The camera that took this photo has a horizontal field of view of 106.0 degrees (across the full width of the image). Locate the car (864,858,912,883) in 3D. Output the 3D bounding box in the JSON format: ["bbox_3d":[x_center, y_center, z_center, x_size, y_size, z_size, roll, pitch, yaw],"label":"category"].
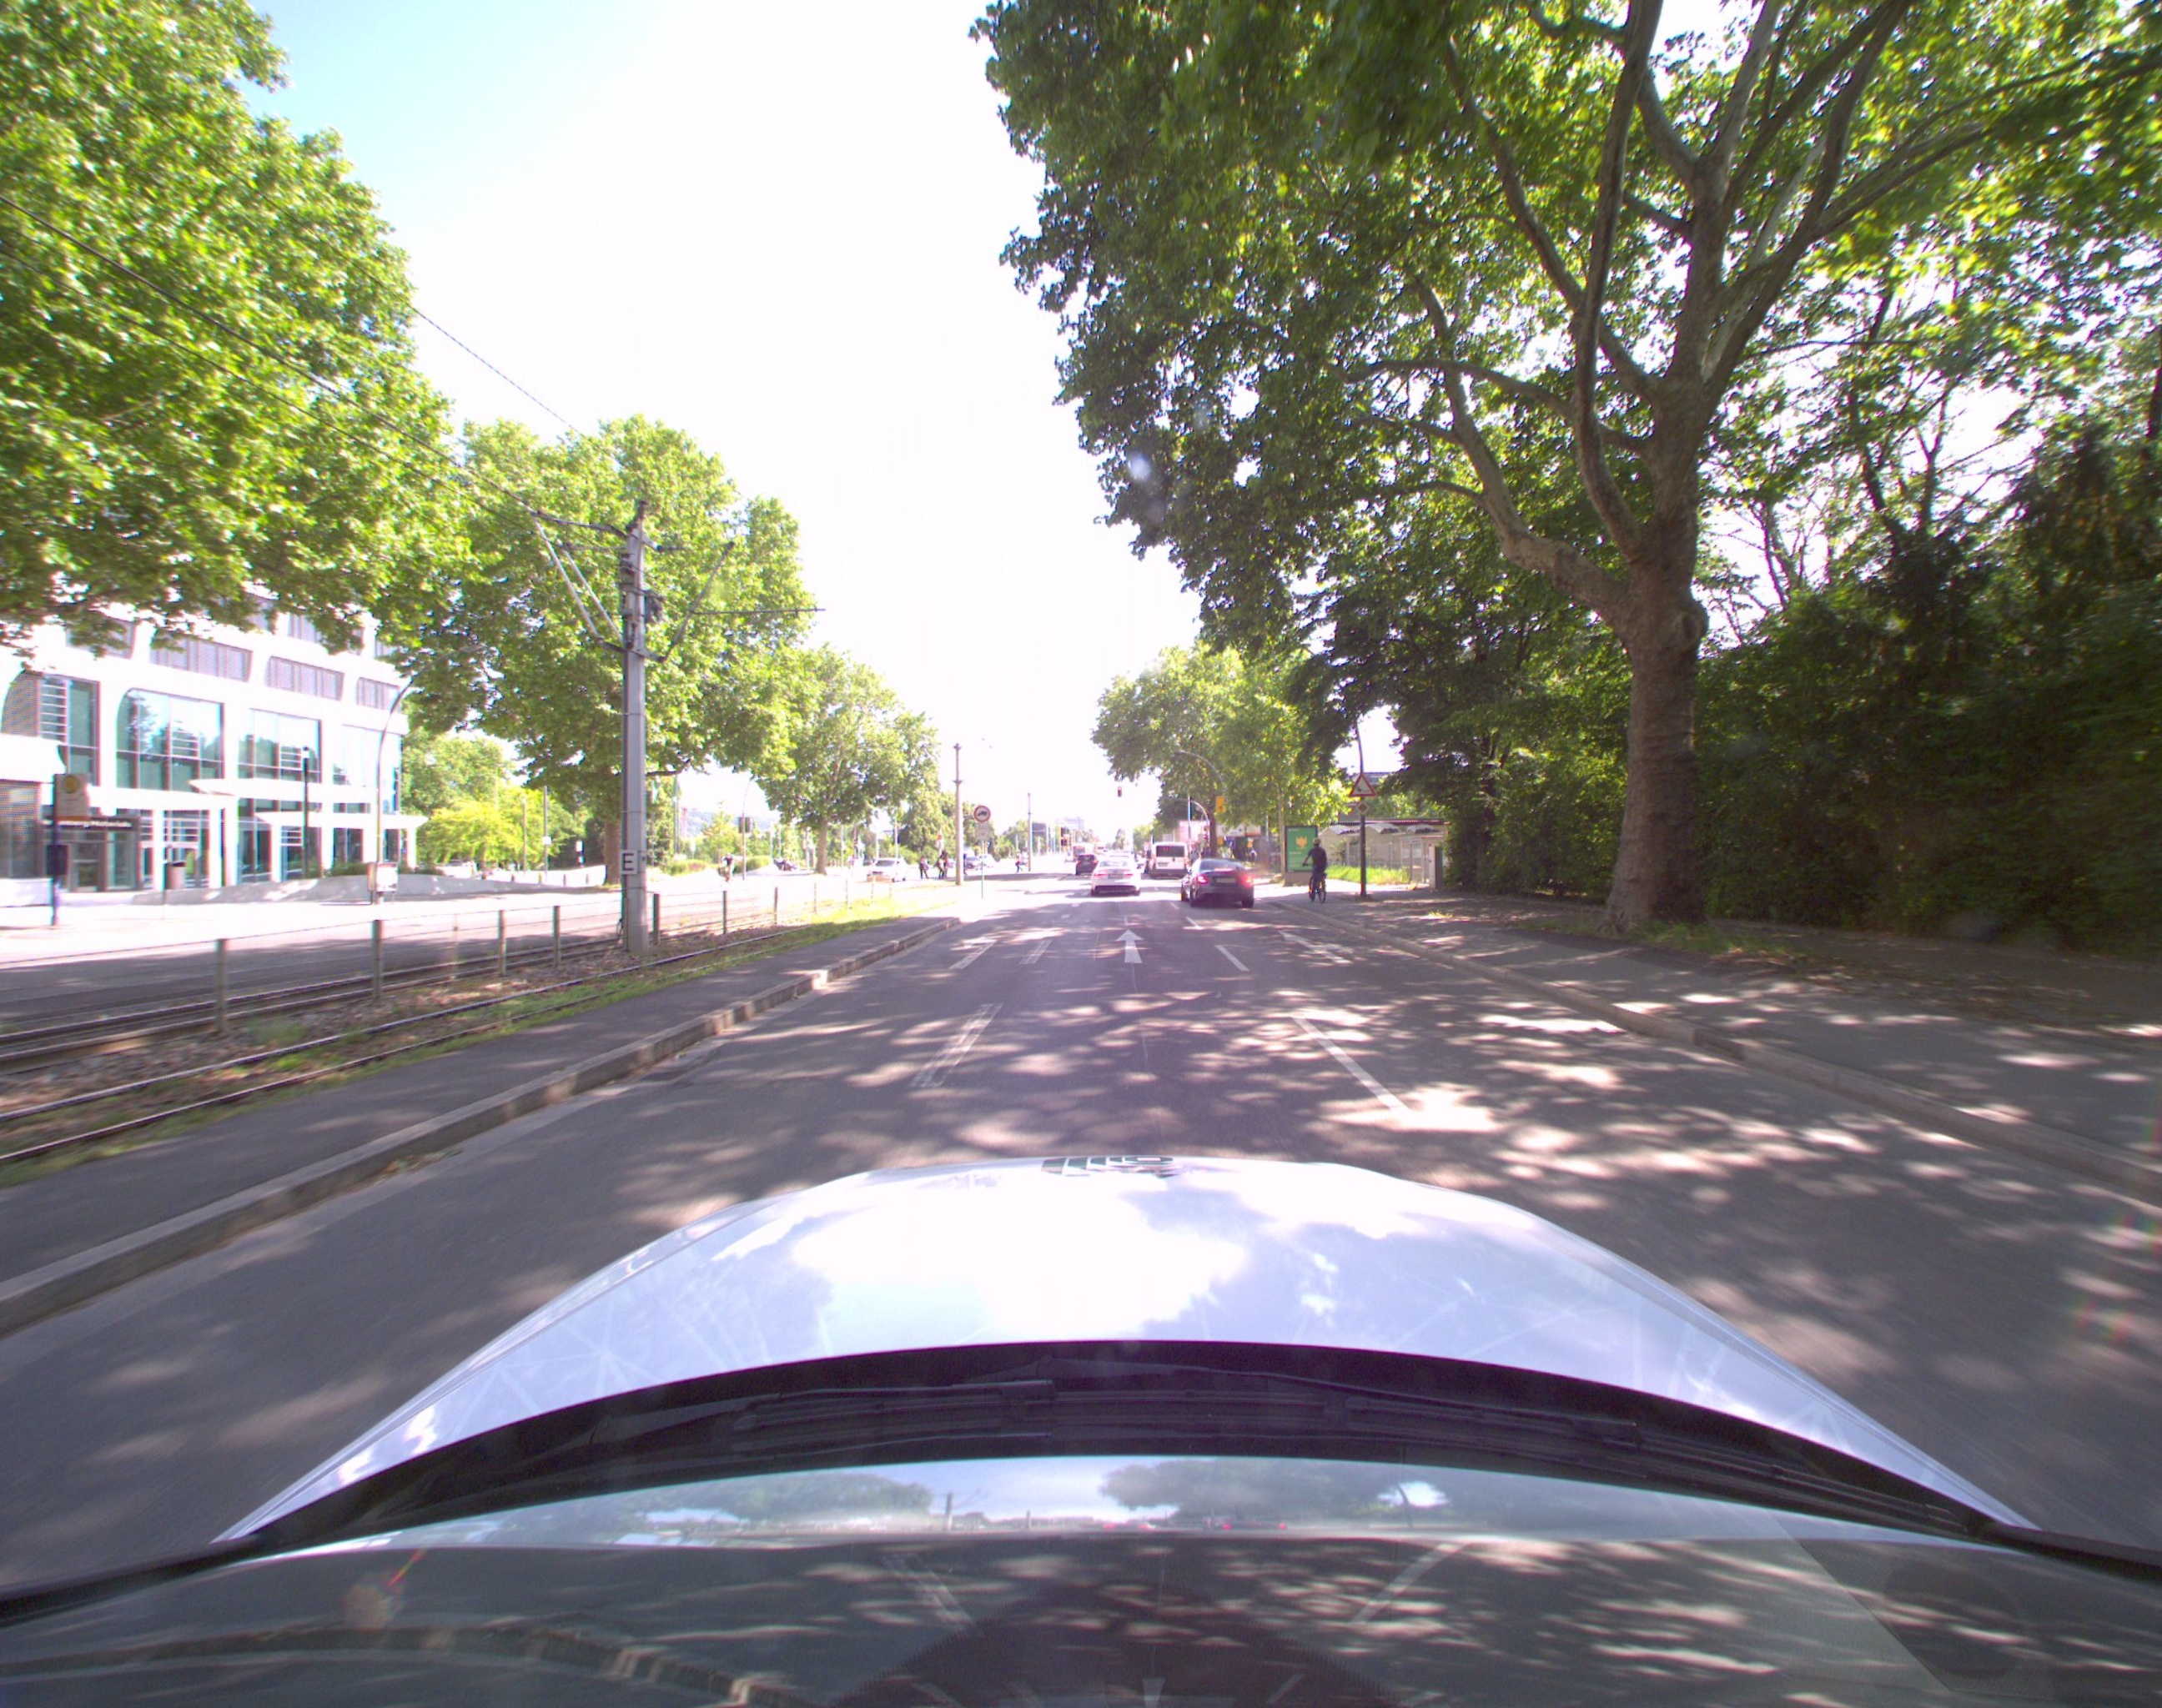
[{"bbox_3d":[-12.142,1.009,51.515,1.789,1.488,4.389,0,0,3],"label":"car"}]

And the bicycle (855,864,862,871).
[{"bbox_3d":[-22.923,1.417,83.983,0.419,0.748,1.145,0,0,-3],"label":"bicycle"}]

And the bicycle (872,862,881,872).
[{"bbox_3d":[-20.169,1.290,80.311,0.483,0.961,1.653,-1,0,-2],"label":"bicycle"}]

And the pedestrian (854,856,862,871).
[{"bbox_3d":[-24.149,1.020,88.225,0.620,1.542,0.783,-1,0,2],"label":"pedestrian"}]

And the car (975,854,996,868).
[{"bbox_3d":[-11.312,0.850,96.581,1.756,1.609,3.863,0,0,3],"label":"car"}]

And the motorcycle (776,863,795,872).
[{"bbox_3d":[-30.419,1.388,83.884,1.637,0.891,0.650,-1,0,2],"label":"motorcycle"}]

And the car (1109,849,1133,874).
[{"bbox_3d":[3.114,0.548,63.331,1.722,1.901,4.003,0,0,3],"label":"car"}]

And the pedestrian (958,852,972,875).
[{"bbox_3d":[-8.658,0.702,60.714,0.769,1.734,0.756,0,0,11],"label":"pedestrian"}]

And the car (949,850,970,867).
[{"bbox_3d":[-17.049,0.596,114.840,2.105,2.383,4.003,-1,0,3],"label":"car"}]

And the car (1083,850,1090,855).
[{"bbox_3d":[1.736,-0.407,258.337,1.986,1.641,4.001,0,0,1],"label":"car"}]

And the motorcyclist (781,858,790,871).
[{"bbox_3d":[-30.443,1.038,83.881,0.750,1.314,0.604,-1,0,3],"label":"motorcyclist"}]

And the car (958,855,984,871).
[{"bbox_3d":[-11.183,0.878,82.936,1.863,1.609,4.003,0,0,3],"label":"car"}]

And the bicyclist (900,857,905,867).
[{"bbox_3d":[-23.411,1.085,106.823,0.469,1.292,0.500,-1,0,31],"label":"bicyclist"}]

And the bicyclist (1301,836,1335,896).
[{"bbox_3d":[6.757,0.332,23.224,0.632,1.648,0.980,-3,0,2],"label":"bicyclist"}]

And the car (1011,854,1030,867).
[{"bbox_3d":[-8.144,0.875,110.247,1.985,1.734,4.003,0,0,3],"label":"car"}]

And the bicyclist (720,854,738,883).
[{"bbox_3d":[-19.766,0.820,45.744,0.572,1.604,0.839,0,0,3],"label":"bicyclist"}]

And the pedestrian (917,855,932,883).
[{"bbox_3d":[-9.246,0.865,48.146,0.760,1.623,0.590,0,0,-23],"label":"pedestrian"}]

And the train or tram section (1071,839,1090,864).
[{"bbox_3d":[-0.049,-0.393,138.408,2.605,4.015,7.755,0,0,3],"label":"train or tram section"}]

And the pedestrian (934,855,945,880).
[{"bbox_3d":[-9.301,0.863,53.675,0.590,1.646,0.555,0,0,3],"label":"pedestrian"}]

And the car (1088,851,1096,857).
[{"bbox_3d":[3.074,0.066,225.996,1.862,1.609,4.006,0,0,5],"label":"car"}]

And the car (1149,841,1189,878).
[{"bbox_3d":[5.372,0.334,50.160,2.221,2.212,4.165,0,0,3],"label":"car"}]

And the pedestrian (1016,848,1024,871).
[{"bbox_3d":[-5.264,0.469,70.543,0.621,1.918,0.690,0,0,3],"label":"pedestrian"}]

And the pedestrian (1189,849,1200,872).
[{"bbox_3d":[8.412,0.490,60.316,0.600,1.694,0.954,-3,0,3],"label":"pedestrian"}]

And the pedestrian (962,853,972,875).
[{"bbox_3d":[-8.567,0.761,61.425,0.532,1.598,0.580,0,0,21],"label":"pedestrian"}]

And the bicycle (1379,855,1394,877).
[{"bbox_3d":[16.396,0.637,43.740,0.387,1.180,1.174,0,0,3],"label":"bicycle"}]

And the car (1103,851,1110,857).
[{"bbox_3d":[7.097,0.089,225.715,1.862,1.609,4.006,0,0,5],"label":"car"}]

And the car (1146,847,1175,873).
[{"bbox_3d":[6.243,0.446,64.285,2.063,1.999,4.061,0,0,3],"label":"car"}]

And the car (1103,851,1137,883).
[{"bbox_3d":[2.068,0.642,43.210,1.722,1.605,3.888,0,0,3],"label":"car"}]

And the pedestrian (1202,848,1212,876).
[{"bbox_3d":[9.124,0.572,58.891,0.632,1.946,0.719,0,0,3],"label":"pedestrian"}]

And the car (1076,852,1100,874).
[{"bbox_3d":[0.565,0.655,63.398,1.722,1.631,4.003,0,0,3],"label":"car"}]

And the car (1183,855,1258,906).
[{"bbox_3d":[4.122,0.736,24.615,1.775,1.420,4.003,0,0,3],"label":"car"}]

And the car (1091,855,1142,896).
[{"bbox_3d":[1.354,0.756,30.628,1.777,1.420,3.888,0,0,3],"label":"car"}]

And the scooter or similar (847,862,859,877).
[{"bbox_3d":[-18.504,1.250,66.011,0.545,1.112,1.249,0,0,3],"label":"scooter or similar"}]

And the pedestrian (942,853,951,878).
[{"bbox_3d":[-9.032,0.789,54.769,0.490,1.679,0.644,0,0,3],"label":"pedestrian"}]

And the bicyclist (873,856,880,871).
[{"bbox_3d":[-20.178,0.934,80.379,0.478,1.416,0.592,-1,0,-3],"label":"bicyclist"}]

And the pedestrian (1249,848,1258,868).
[{"bbox_3d":[15.843,0.390,74.777,0.773,1.788,0.766,-1,0,11],"label":"pedestrian"}]

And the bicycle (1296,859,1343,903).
[{"bbox_3d":[6.789,0.734,23.286,0.711,1.148,2.179,-3,0,2],"label":"bicycle"}]

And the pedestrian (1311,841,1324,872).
[{"bbox_3d":[14.358,0.158,49.478,0.611,1.896,0.597,-1,0,0],"label":"pedestrian"}]

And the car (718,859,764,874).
[{"bbox_3d":[-34.212,1.249,82.048,3.831,1.549,1.771,0,0,3],"label":"car"}]

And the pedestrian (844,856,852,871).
[{"bbox_3d":[-25.249,1.041,88.194,0.620,1.542,0.644,-1,0,1],"label":"pedestrian"}]

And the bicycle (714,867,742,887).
[{"bbox_3d":[-19.774,1.278,45.665,0.664,1.094,1.885,0,0,3],"label":"bicycle"}]

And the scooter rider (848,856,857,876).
[{"bbox_3d":[-18.506,0.992,66.037,0.504,1.631,0.566,0,0,3],"label":"scooter rider"}]
